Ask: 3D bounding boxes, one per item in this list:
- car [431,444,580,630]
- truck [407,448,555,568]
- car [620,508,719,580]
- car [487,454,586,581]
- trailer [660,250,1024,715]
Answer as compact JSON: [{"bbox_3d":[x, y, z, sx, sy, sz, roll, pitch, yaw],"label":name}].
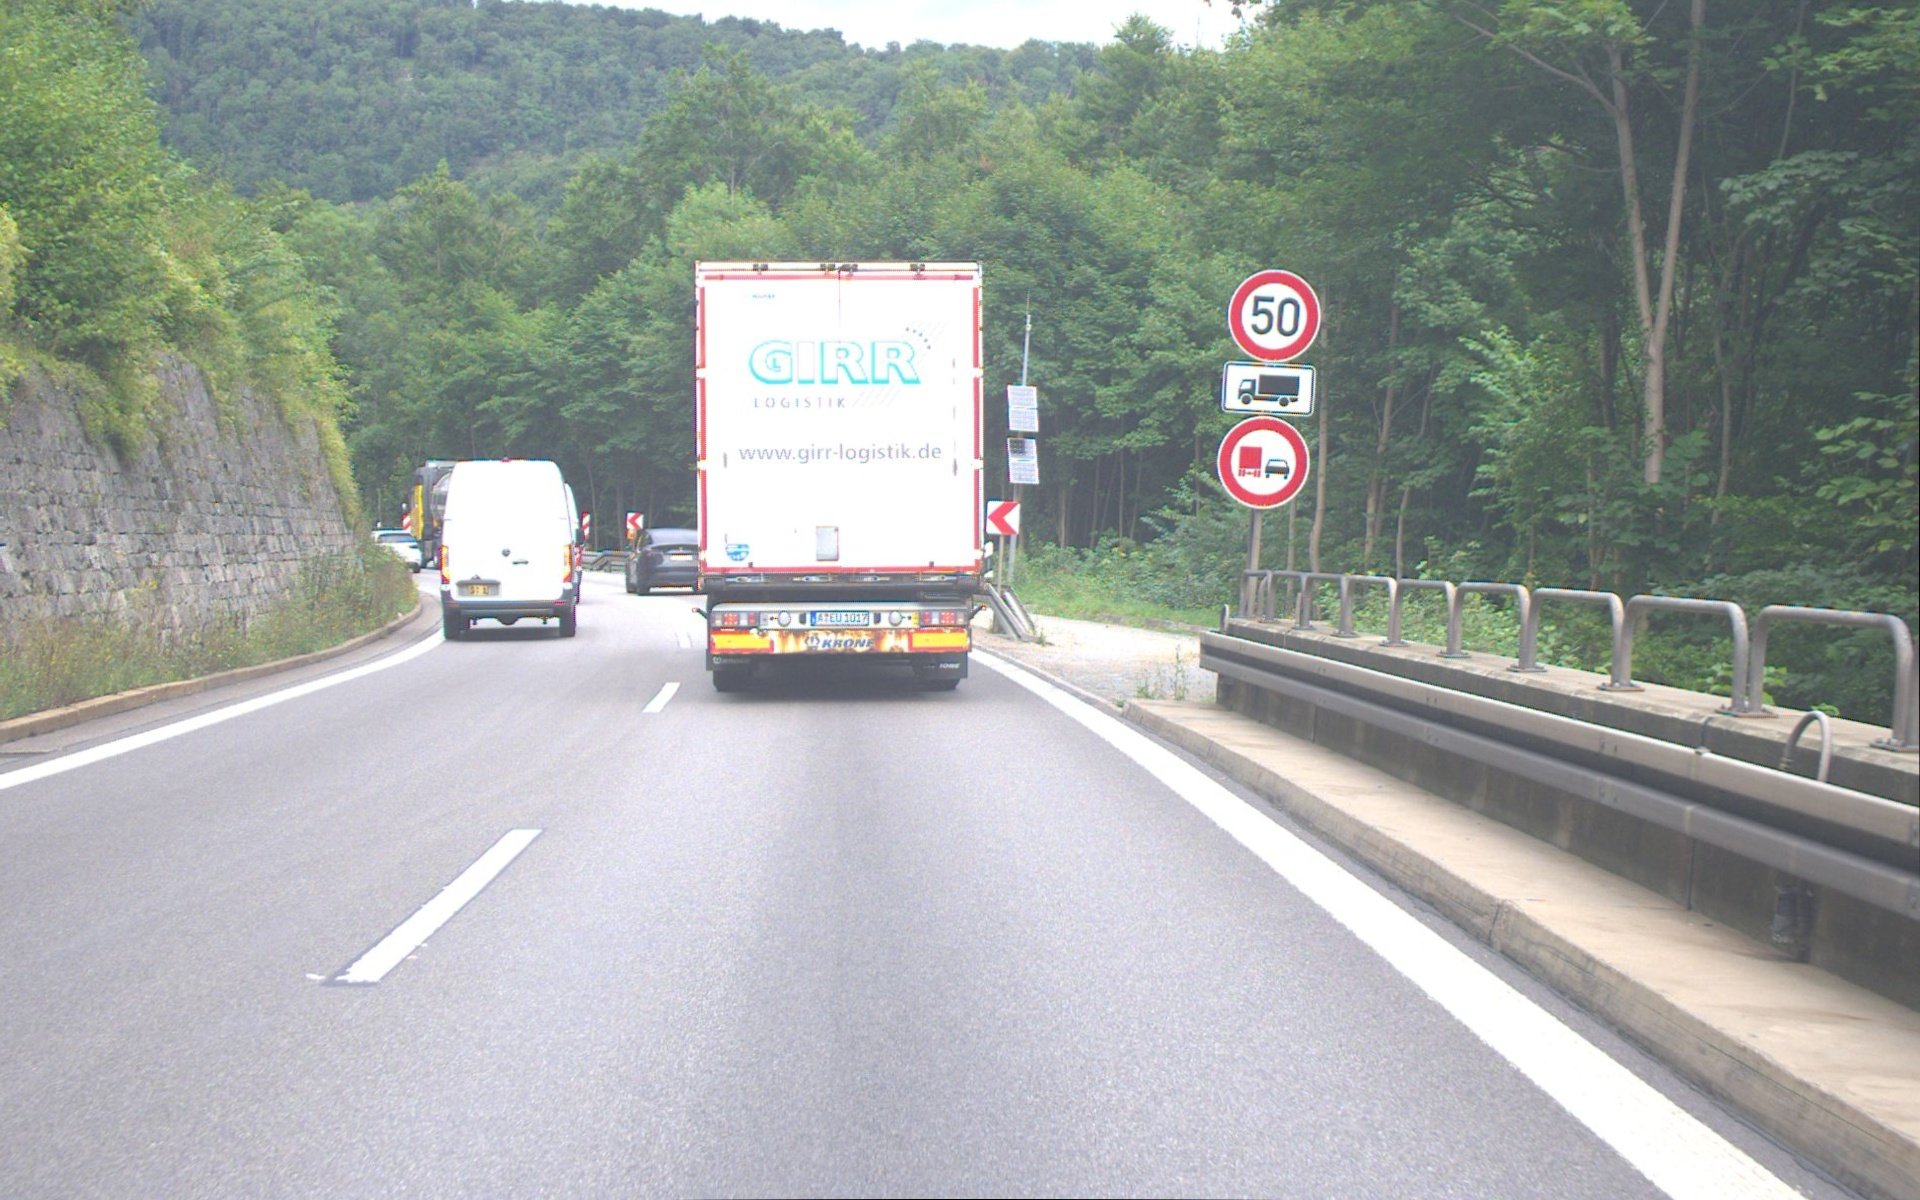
[{"bbox_3d":[-7.024,-1.005,53.725,1.988,2.663,6.938,2,1,-5],"label":"car"},{"bbox_3d":[-17.117,-3.352,121.962,3.056,3.972,13.703,-2,3,-17],"label":"truck"},{"bbox_3d":[-7.044,-1.374,82.986,1.993,1.656,4.001,1,1,-10],"label":"car"},{"bbox_3d":[-9.473,-1.835,76.539,1.939,2.663,5.993,1,1,-9],"label":"car"},{"bbox_3d":[-1.378,-1.291,36.271,3.057,3.972,12.139,2,2,-3],"label":"trailer"}]
